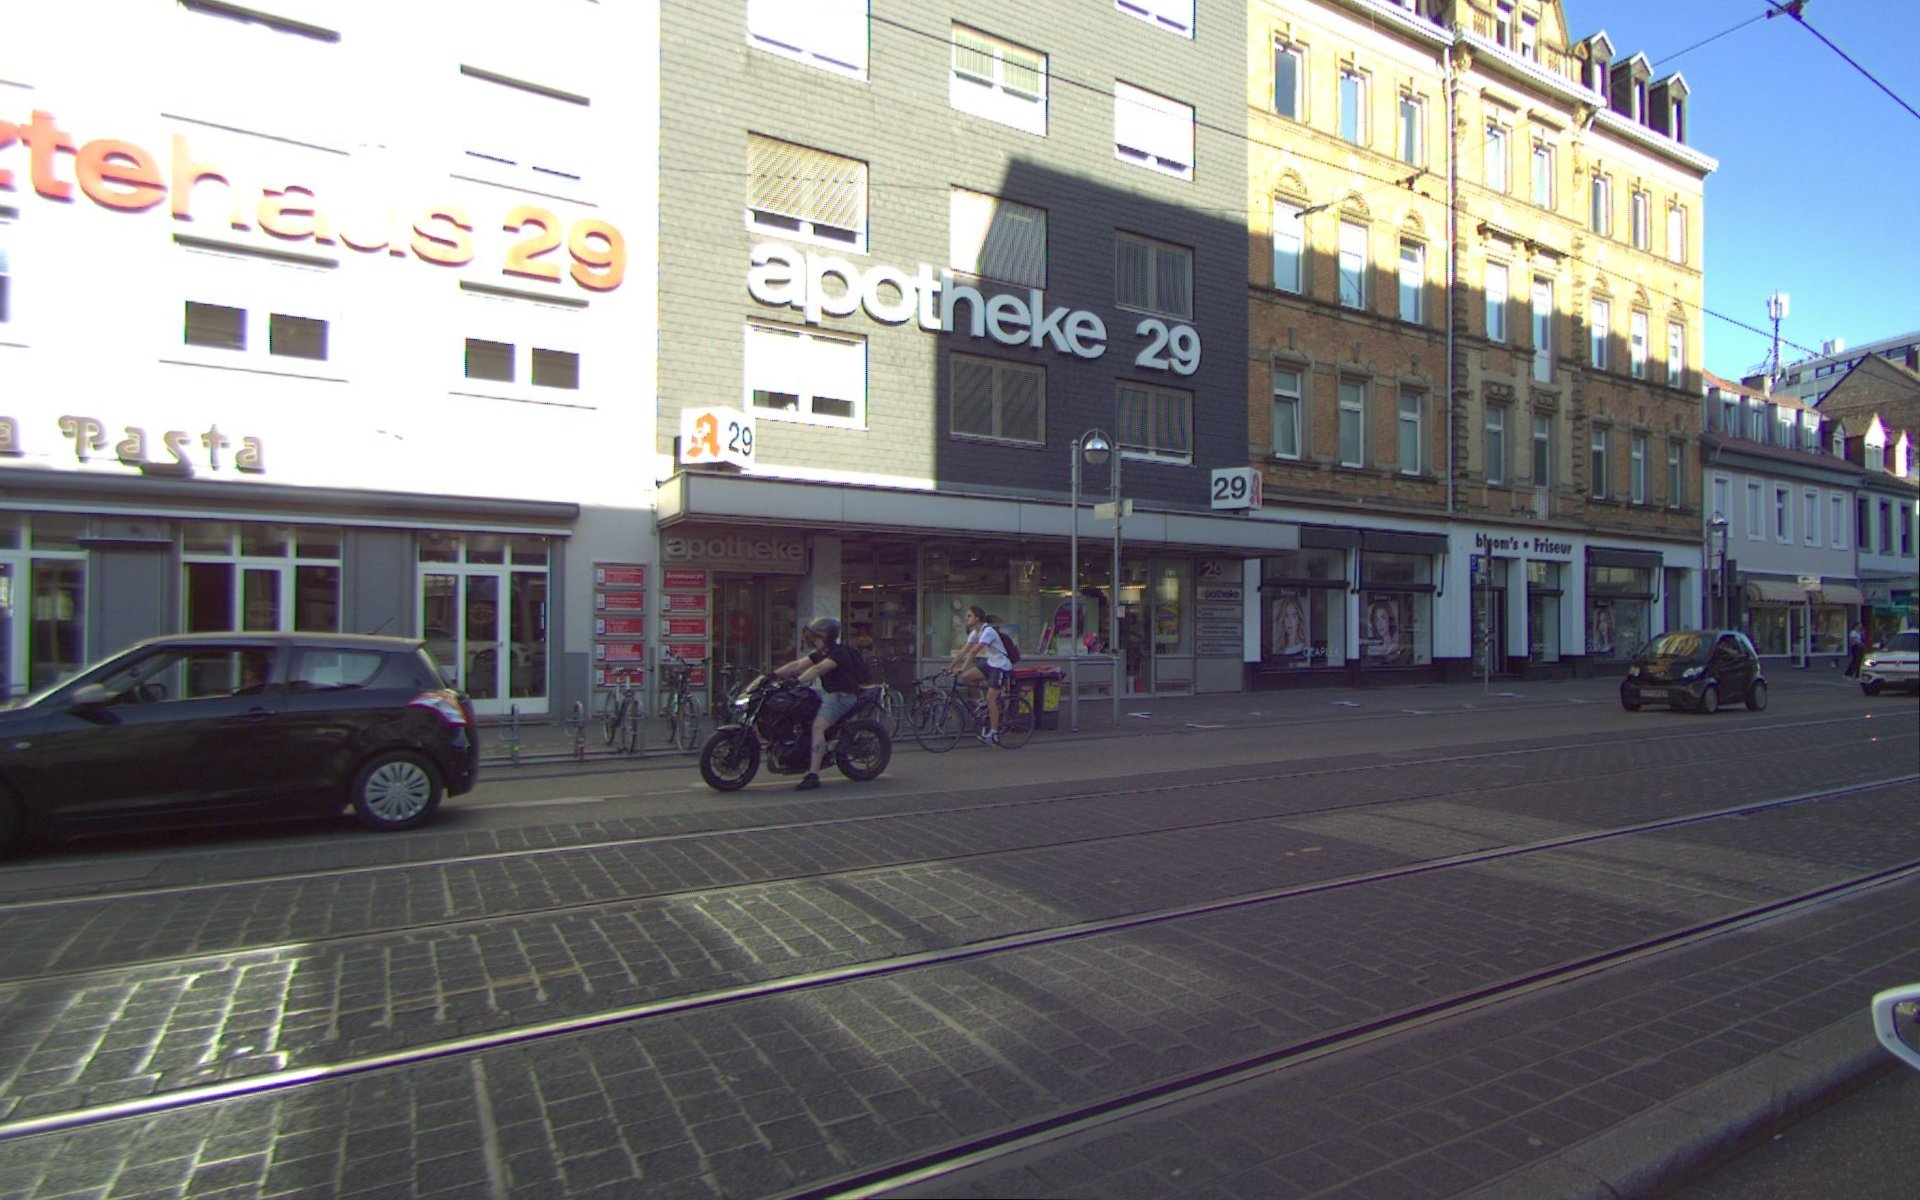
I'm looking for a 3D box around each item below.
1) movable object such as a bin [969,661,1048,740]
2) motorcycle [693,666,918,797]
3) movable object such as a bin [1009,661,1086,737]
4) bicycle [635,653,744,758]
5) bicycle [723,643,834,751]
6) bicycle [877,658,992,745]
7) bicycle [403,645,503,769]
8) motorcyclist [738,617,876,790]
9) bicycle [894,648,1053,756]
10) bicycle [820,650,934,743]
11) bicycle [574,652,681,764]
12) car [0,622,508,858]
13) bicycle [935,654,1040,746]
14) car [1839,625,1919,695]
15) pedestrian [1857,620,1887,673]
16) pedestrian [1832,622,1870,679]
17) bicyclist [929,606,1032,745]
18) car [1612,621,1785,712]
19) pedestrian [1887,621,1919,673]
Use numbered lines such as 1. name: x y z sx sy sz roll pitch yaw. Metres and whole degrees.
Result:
1. movable object such as a bin: 0.730 1.513 15.343 0.726 1.086 1.094 1 0 -29
2. motorcycle: -1.464 1.220 9.723 2.092 1.134 0.567 1 -3 -30
3. movable object such as a bin: 1.355 1.526 15.696 0.690 1.077 1.094 1 0 -29
4. bicycle: -3.542 1.311 13.039 0.766 1.208 1.922 1 -2 -34
5. bicycle: -2.504 1.265 13.662 0.766 1.297 1.922 1 -1 -34
6. bicycle: -0.402 1.430 14.617 0.766 1.125 1.922 1 -2 -34
7. bicycle: -5.962 1.184 11.745 0.766 1.240 2.090 1 -1 -34
8. motorcyclist: -1.496 0.970 9.817 1.132 1.578 0.800 1 -3 -29
9. bicycle: 0.193 1.304 13.236 2.002 1.310 0.747 1 -2 -30
10. bicycle: -1.217 1.327 14.344 0.766 1.167 1.922 1 -1 -34
11. bicycle: -4.206 1.298 12.614 0.766 1.188 1.922 1 0 -34
12. car: -5.649 0.932 7.429 4.089 1.464 1.706 1 -4 -30
13. bicycle: 0.376 1.428 14.756 0.546 1.206 1.923 1 -2 -33
14. car: 23.652 1.446 24.609 4.212 1.615 1.882 1 -3 -30
15. pedestrian: 32.068 1.631 35.303 0.636 1.847 0.652 1 -1 -35
16. pedestrian: 28.318 1.602 31.942 0.707 1.799 0.613 1 -1 -17
17. bicyclist: 0.268 0.975 13.263 1.132 1.752 0.747 1 -2 -29
18. car: 13.988 1.205 19.030 2.795 1.586 1.641 1 -2 -30
19. pedestrian: 33.129 1.620 35.148 0.680 1.799 0.881 1 -1 -31
